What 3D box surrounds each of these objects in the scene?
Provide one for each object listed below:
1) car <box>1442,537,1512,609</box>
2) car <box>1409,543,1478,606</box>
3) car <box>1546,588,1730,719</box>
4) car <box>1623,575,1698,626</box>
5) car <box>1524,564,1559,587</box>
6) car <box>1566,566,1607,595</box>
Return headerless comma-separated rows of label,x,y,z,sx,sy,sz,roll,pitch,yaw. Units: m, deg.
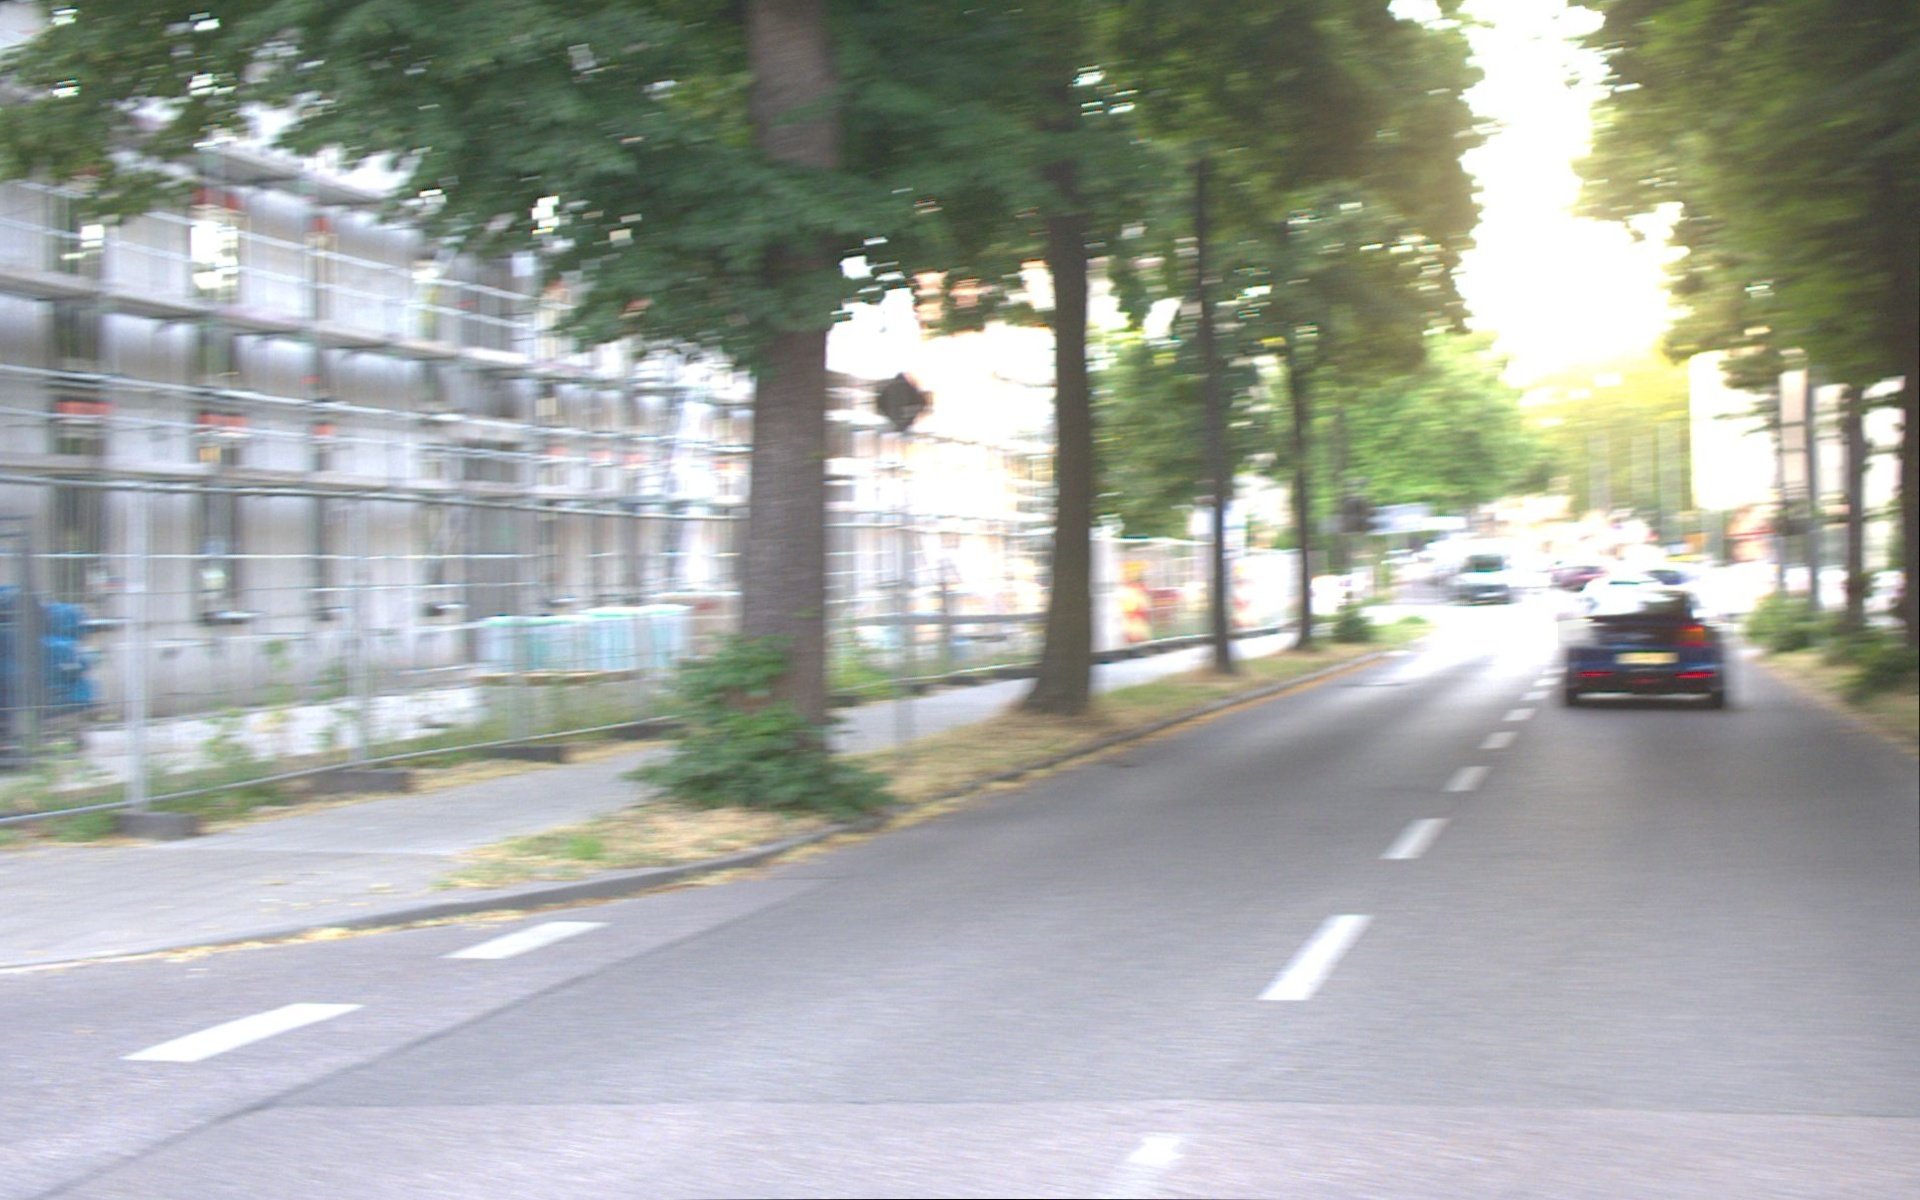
car,20.112,-1.081,133.588,2.493,2.687,5.828,-1,1,10
car,17.193,-0.929,122.403,2.337,2.190,5.307,-1,1,7
car,7.740,0.572,39.397,1.948,1.322,3.998,1,1,10
car,19.536,0.001,95.779,1.948,1.322,3.998,1,1,12
car,34.061,-1.443,201.310,1.948,1.322,3.998,1,1,10
car,30.698,-0.975,168.445,1.948,1.322,3.998,1,1,10
